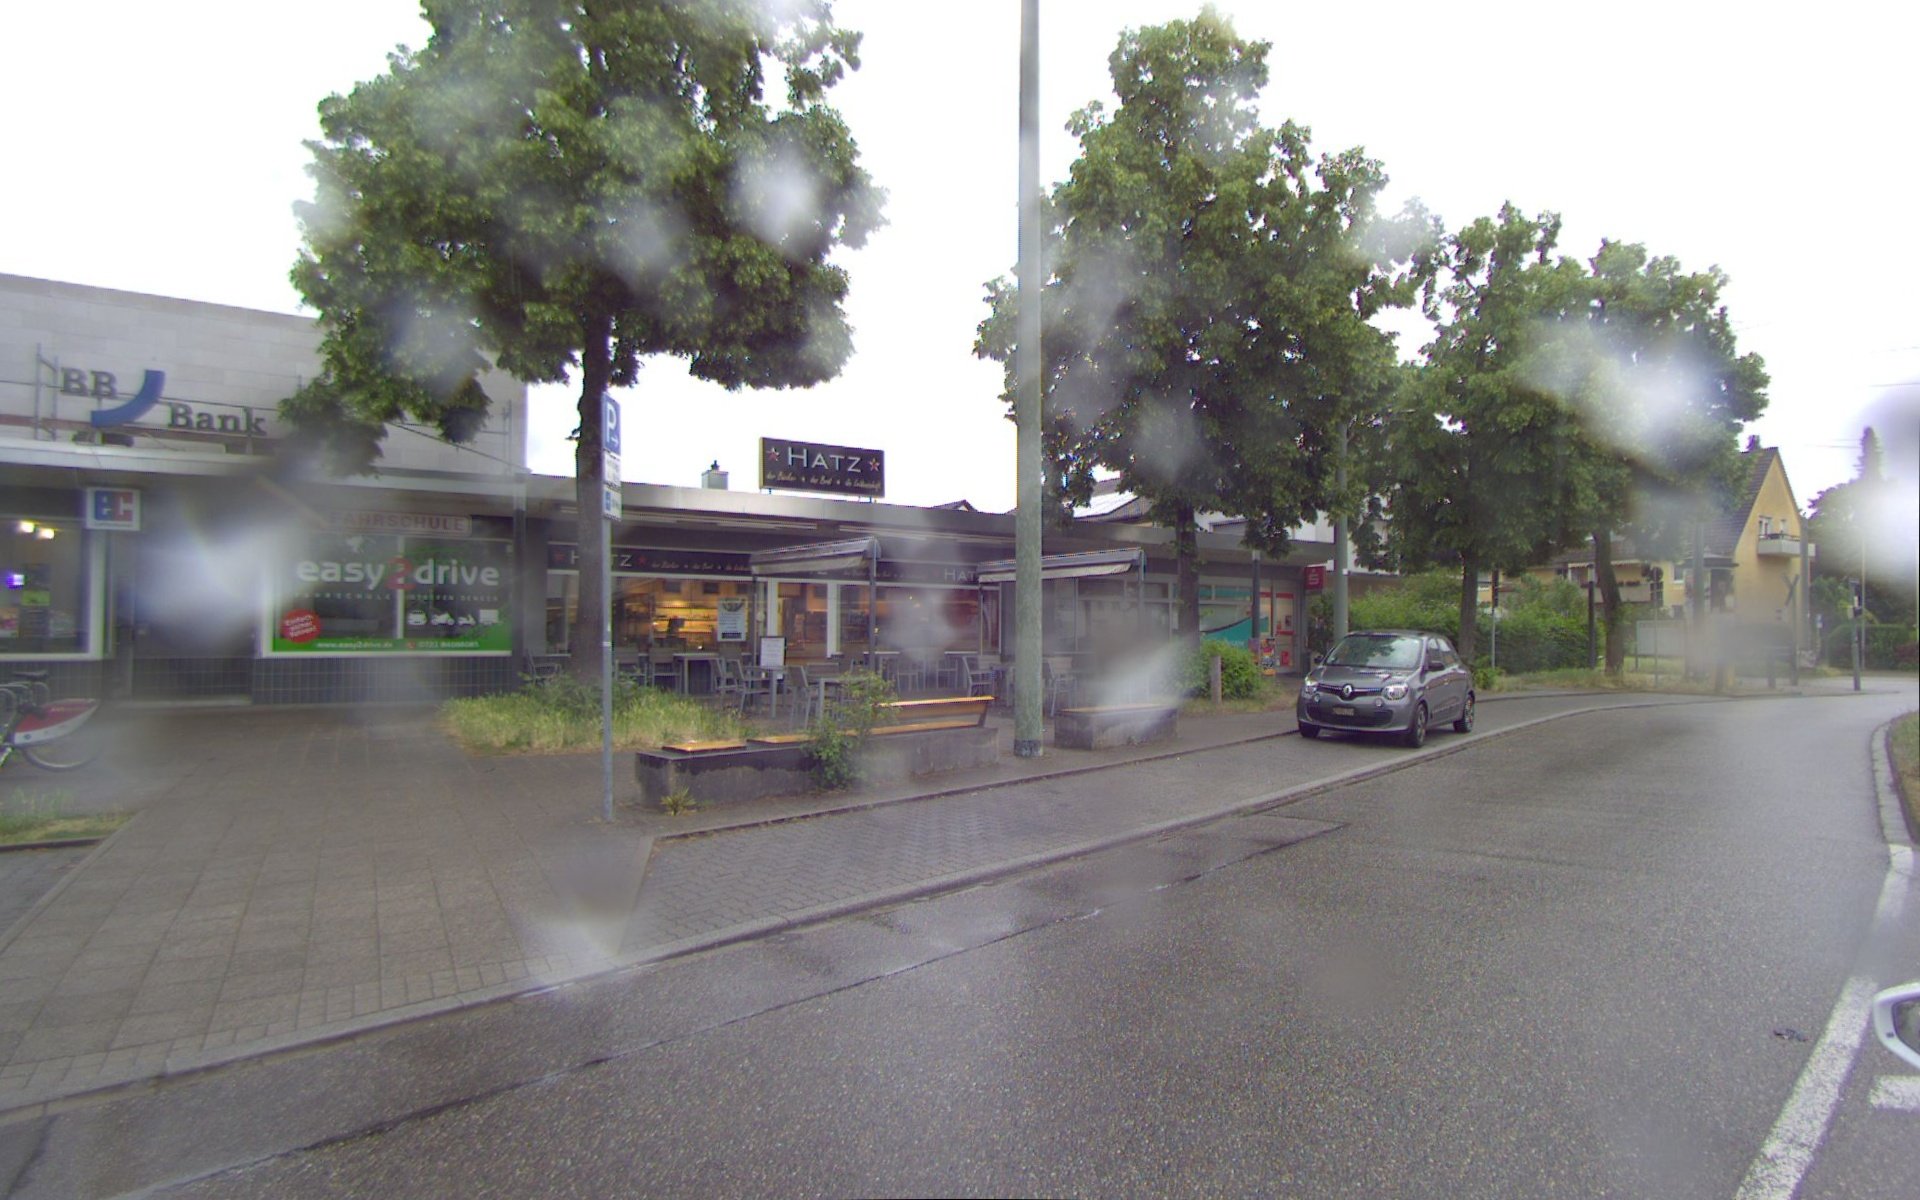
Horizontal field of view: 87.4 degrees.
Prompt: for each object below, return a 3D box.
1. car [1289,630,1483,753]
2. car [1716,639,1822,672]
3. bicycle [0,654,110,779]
[{"bbox_3d":[6.375,1.241,14.832,1.598,1.516,3.649,2,0,40],"label":"car"},{"bbox_3d":[41.962,2.855,52.184,1.815,1.476,3.960,2,0,-35],"label":"car"},{"bbox_3d":[-9.009,1.078,9.266,0.314,1.122,1.739,2,0,43],"label":"bicycle"}]
